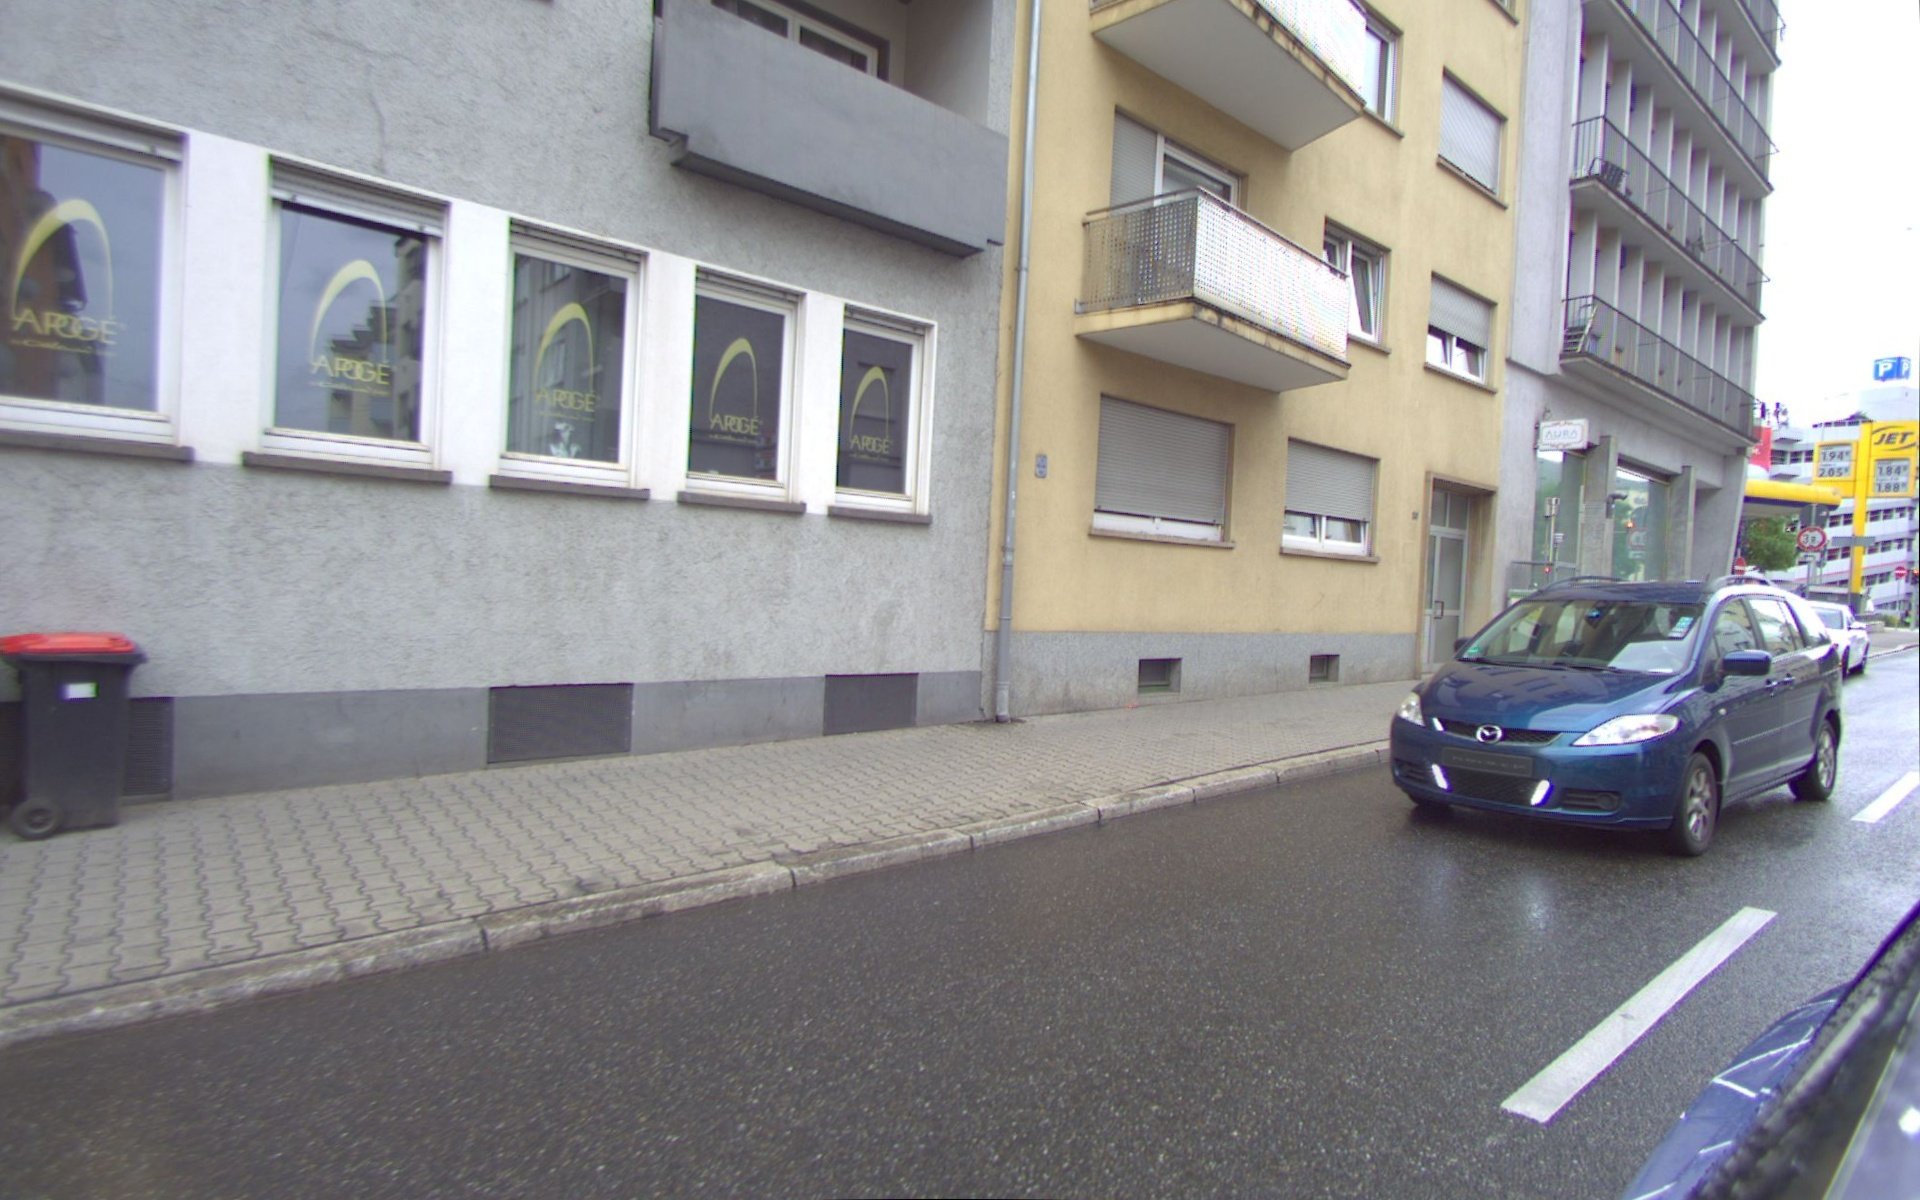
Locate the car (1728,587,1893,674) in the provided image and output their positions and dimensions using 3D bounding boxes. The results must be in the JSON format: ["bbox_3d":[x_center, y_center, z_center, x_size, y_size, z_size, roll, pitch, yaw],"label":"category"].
[{"bbox_3d":[16.941,0.533,20.097,4.092,1.453,1.803,0,3,-41],"label":"car"}]

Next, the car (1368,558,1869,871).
[{"bbox_3d":[4.869,0.582,7.264,4.135,1.626,1.812,0,1,-39],"label":"car"}]

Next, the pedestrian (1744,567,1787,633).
[{"bbox_3d":[22.161,-0.006,27.854,0.872,1.777,0.679,0,2,-39],"label":"pedestrian"}]

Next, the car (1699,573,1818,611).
[{"bbox_3d":[33.433,-0.316,42.516,1.738,1.493,4.000,0,0,-1],"label":"car"}]

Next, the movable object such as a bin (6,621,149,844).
[{"bbox_3d":[-4.322,0.613,4.980,0.506,0.961,0.541,0,4,-40],"label":"movable object such as a bin"}]

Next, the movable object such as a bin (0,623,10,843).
[{"bbox_3d":[-4.701,0.618,4.611,0.506,0.967,0.541,0,4,-40],"label":"movable object such as a bin"}]
